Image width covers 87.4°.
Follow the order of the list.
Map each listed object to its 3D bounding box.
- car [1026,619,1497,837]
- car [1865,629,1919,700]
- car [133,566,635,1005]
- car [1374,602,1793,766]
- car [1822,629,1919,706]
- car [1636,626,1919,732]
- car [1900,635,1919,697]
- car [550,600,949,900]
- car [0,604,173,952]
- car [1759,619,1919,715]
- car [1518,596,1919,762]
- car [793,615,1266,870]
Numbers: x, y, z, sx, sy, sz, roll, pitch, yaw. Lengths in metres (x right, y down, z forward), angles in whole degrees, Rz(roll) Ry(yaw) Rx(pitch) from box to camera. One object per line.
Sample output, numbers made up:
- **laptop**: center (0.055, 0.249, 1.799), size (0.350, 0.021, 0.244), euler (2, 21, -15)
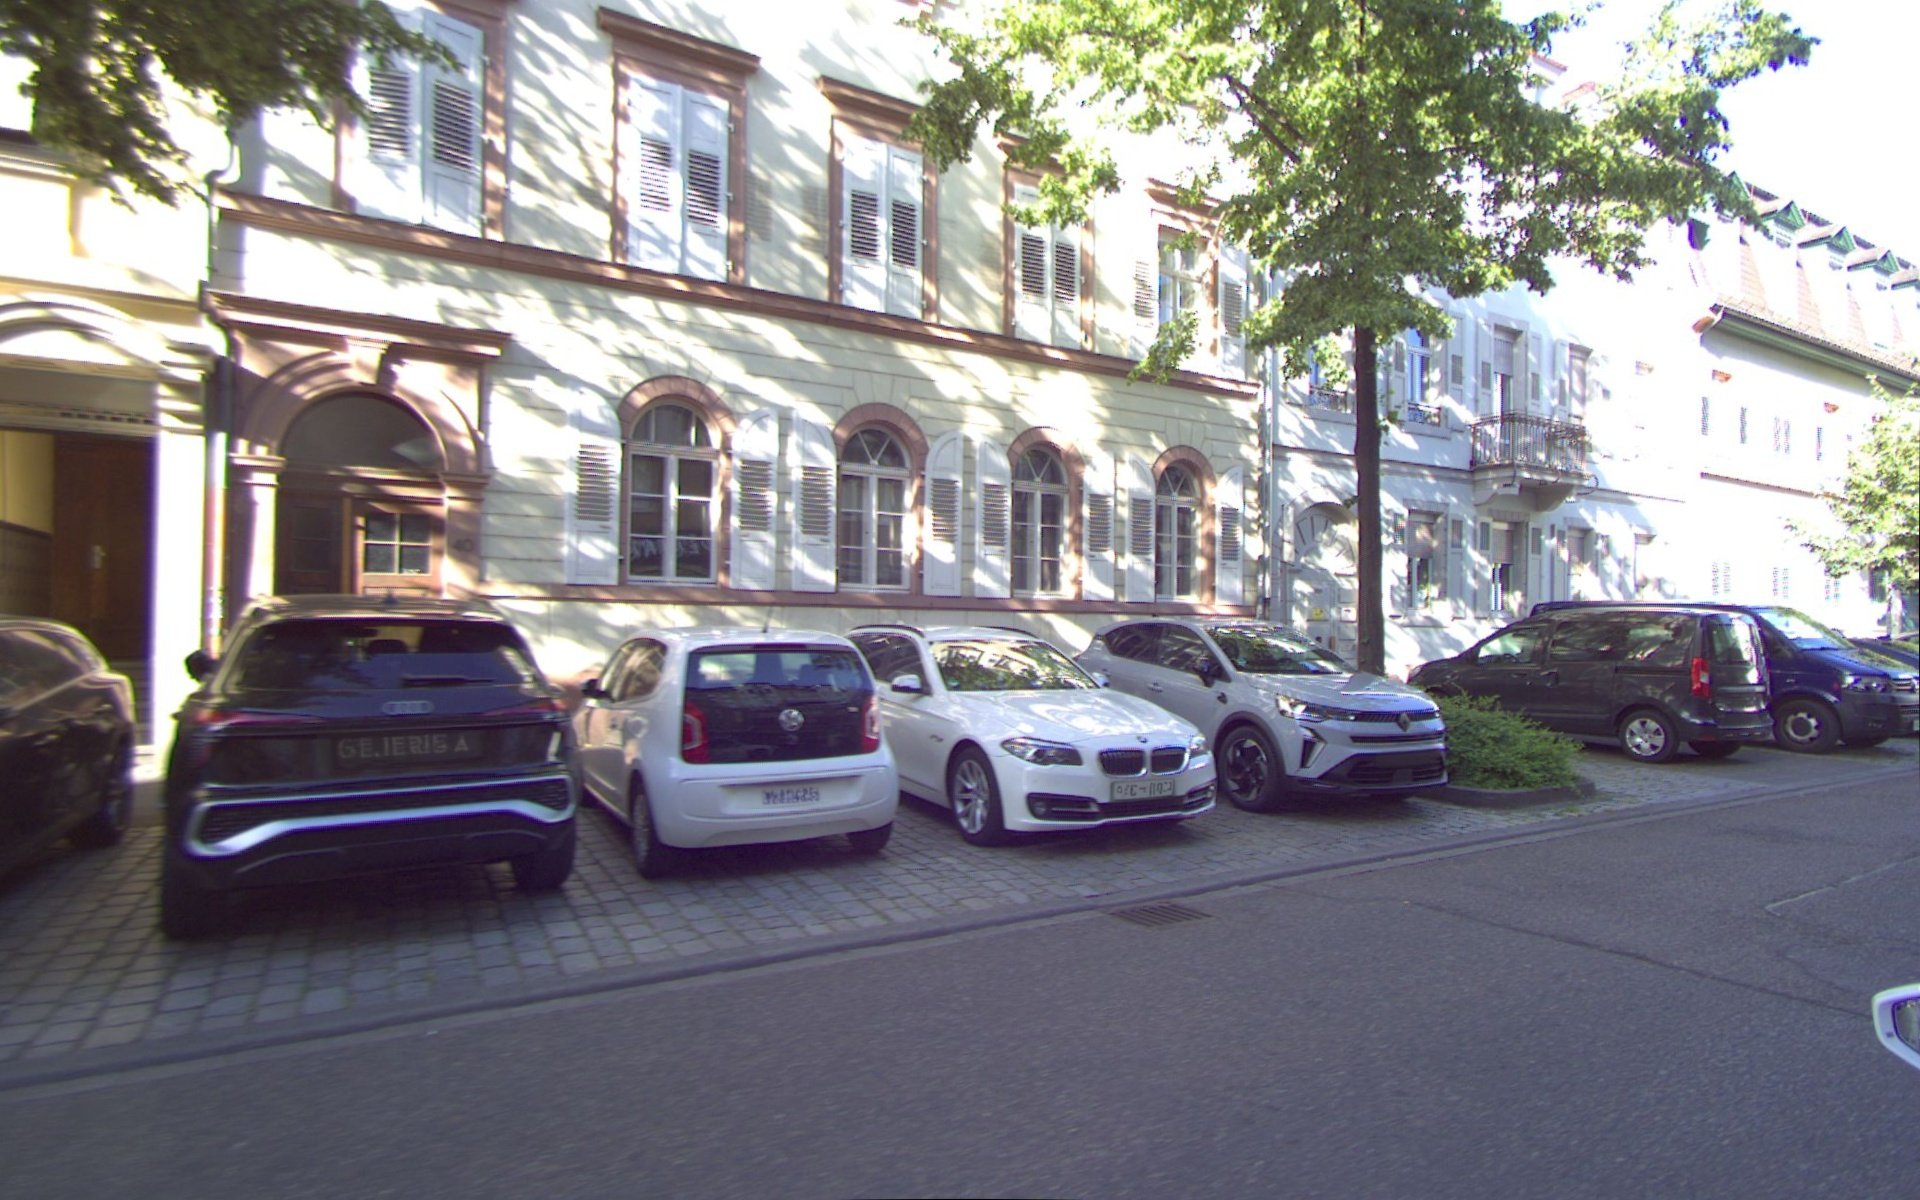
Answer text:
- **car**: center (2.561, 0.993, 9.755), size (1.891, 1.561, 4.452), euler (1, -1, -26)
- **car**: center (23.091, 1.468, 21.927), size (1.785, 1.593, 4.662), euler (1, -1, -28)
- **car**: center (-3.478, 0.776, 6.336), size (1.894, 1.732, 4.320), euler (2, -1, -29)
- **car**: center (8.040, 0.973, 13.462), size (1.892, 1.795, 4.449), euler (1, -1, -28)
- **car**: center (20.593, 1.389, 20.182), size (1.785, 1.539, 4.662), euler (1, -1, -28)
- **car**: center (13.727, 1.190, 16.058), size (1.663, 1.478, 4.625), euler (2, -1, -29)
- **car**: center (24.974, 1.602, 23.059), size (1.785, 1.482, 4.662), euler (1, -1, -28)
- **car**: center (-1.899, 0.848, 7.711), size (1.787, 1.603, 4.320), euler (2, -1, -29)
- **car**: center (-5.475, 0.782, 4.755), size (1.892, 1.561, 4.450), euler (1, -1, -27)
- **car**: center (18.245, 1.264, 18.957), size (1.785, 1.735, 4.662), euler (1, -1, -28)
- **car**: center (10.837, 0.988, 14.461), size (1.892, 1.976, 4.662), euler (1, -1, -28)
- **car**: center (0.261, 0.930, 8.608), size (1.894, 1.561, 4.445), euler (2, -1, -30)
